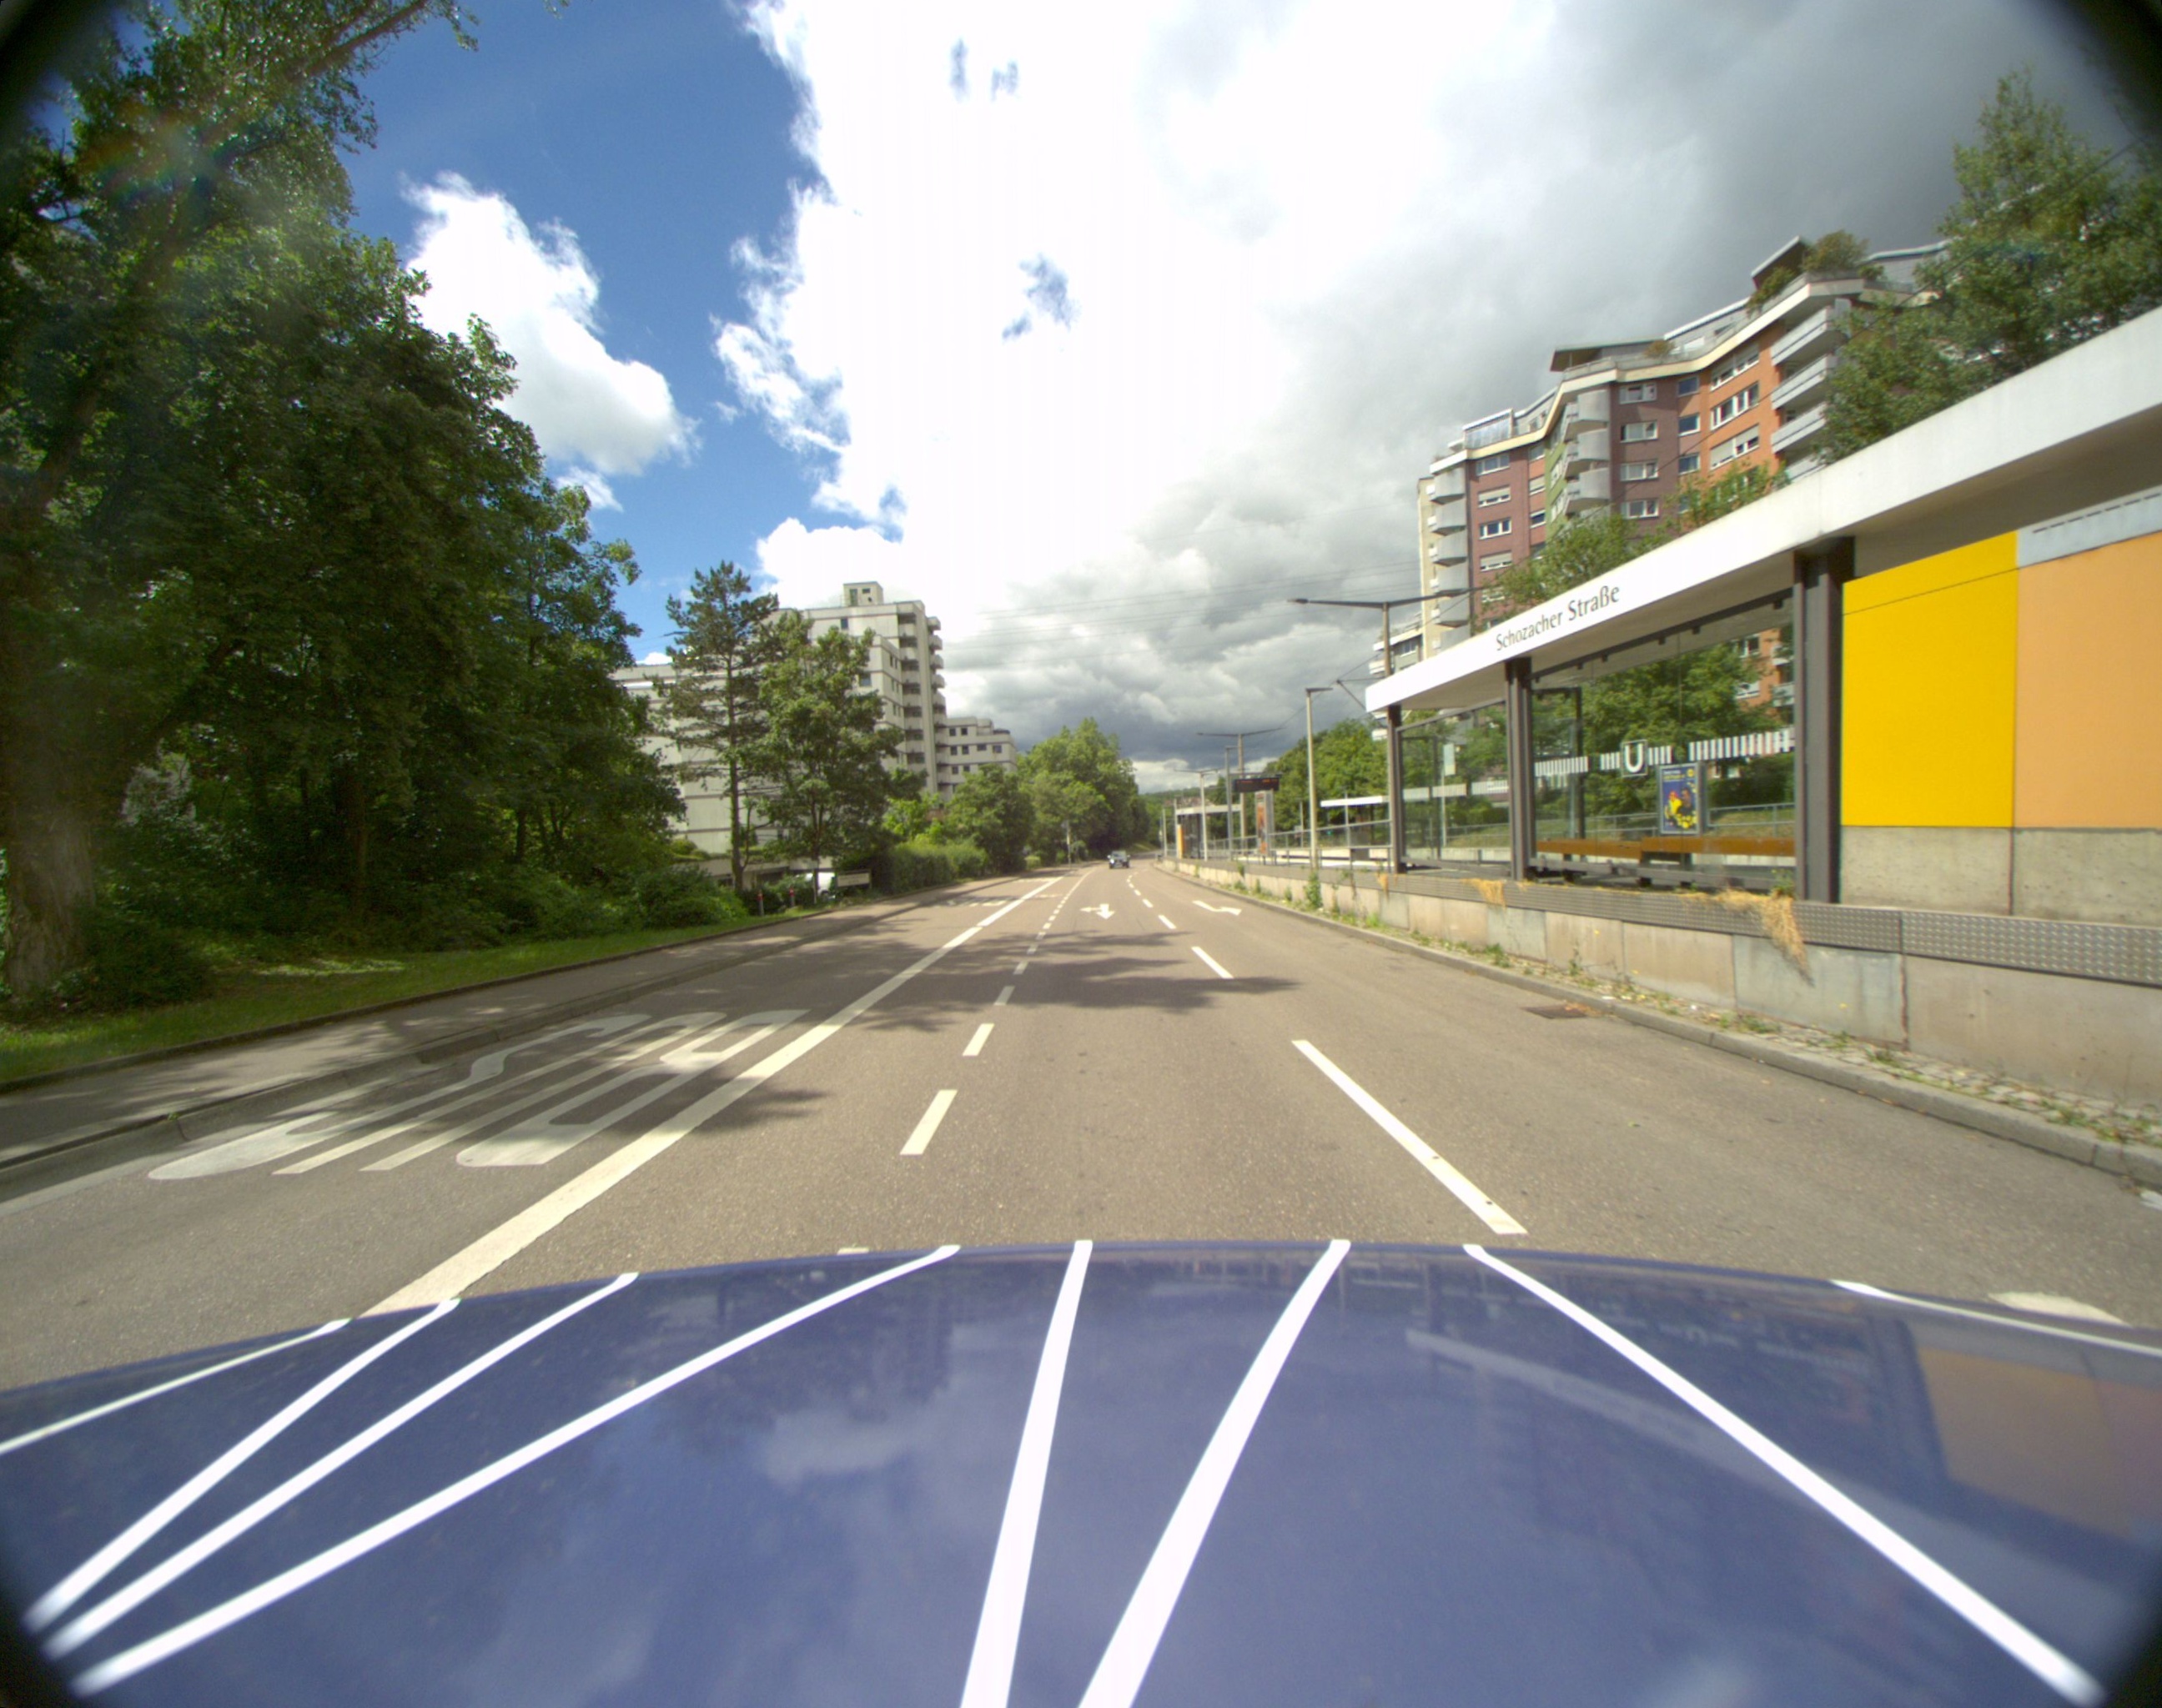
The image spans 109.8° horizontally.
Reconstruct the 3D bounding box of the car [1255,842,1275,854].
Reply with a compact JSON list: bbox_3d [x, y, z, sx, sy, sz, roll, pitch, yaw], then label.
[{"bbox_3d":[23.245,-0.770,95.956,1.658,1.410,4.000,-2,1,1],"label":"car"}]

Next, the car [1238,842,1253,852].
[{"bbox_3d":[24.385,-1.039,112.618,1.658,1.504,3.738,-2,1,5],"label":"car"}]

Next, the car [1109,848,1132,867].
[{"bbox_3d":[3.422,0.247,65.302,1.736,1.477,3.817,-2,1,5],"label":"car"}]

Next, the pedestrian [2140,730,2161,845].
[{"bbox_3d":[15.770,-0.961,10.943,0.522,1.635,0.563,-3,1,-31],"label":"pedestrian"}]
